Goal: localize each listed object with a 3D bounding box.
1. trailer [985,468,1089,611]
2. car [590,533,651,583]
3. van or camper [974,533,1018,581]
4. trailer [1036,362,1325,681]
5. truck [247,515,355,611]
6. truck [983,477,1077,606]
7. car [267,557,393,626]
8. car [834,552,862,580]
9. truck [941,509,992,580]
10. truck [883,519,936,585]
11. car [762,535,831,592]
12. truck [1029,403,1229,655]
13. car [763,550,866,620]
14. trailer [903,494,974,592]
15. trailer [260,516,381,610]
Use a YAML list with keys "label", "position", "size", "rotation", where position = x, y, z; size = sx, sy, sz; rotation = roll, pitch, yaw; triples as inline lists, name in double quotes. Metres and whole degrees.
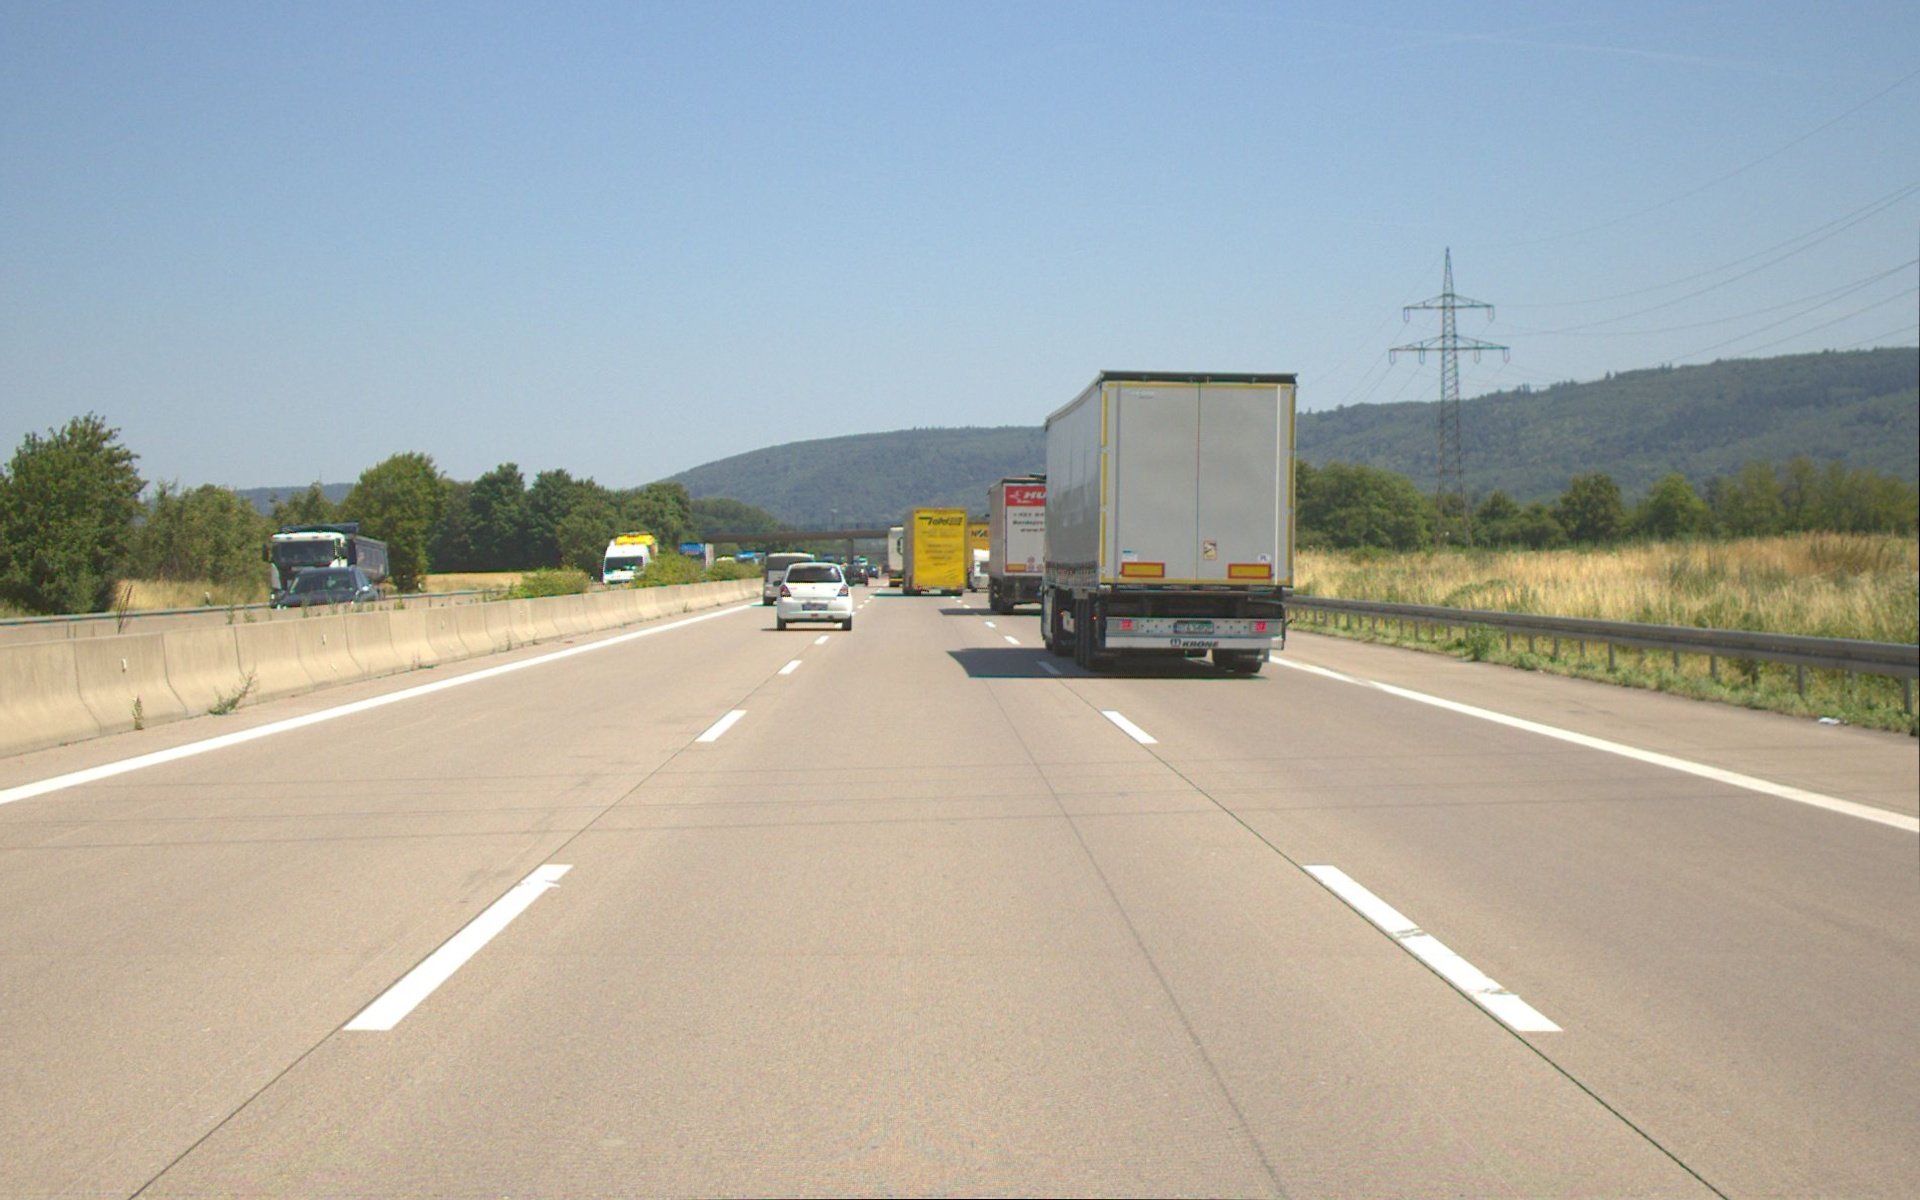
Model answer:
- label: "trailer"
  position: [2.272, -1.841, 106.516]
  size: [2.874, 4.086, 13.513]
  rotation: [1, 1, 0]
- label: "car"
  position: [-15.297, -1.901, 155.249]
  size: [2.210, 2.181, 6.326]
  rotation: [1, 1, -1]
- label: "van or camper"
  position: [1.922, -2.310, 185.416]
  size: [2.224, 2.522, 5.431]
  rotation: [1, 1, -1]
- label: "trailer"
  position: [2.990, -1.101, 51.298]
  size: [3.018, 4.047, 14.208]
  rotation: [1, 1, -1]
- label: "truck"
  position: [-23.379, -1.309, 122.179]
  size: [2.806, 3.293, 5.614]
  rotation: [1, 1, -1]
- label: "truck"
  position: [2.266, -1.927, 113.271]
  size: [2.905, 4.086, 6.272]
  rotation: [1, 1, 0]
- label: "car"
  position: [-13.777, -0.204, 75.447]
  size: [1.993, 1.443, 4.683]
  rotation: [1, 1, -1]
- label: "car"
  position: [-7.664, -2.306, 234.636]
  size: [1.783, 1.875, 4.000]
  rotation: [1, 1, 0]
- label: "truck"
  position: [0.361, -3.428, 213.299]
  size: [2.999, 4.299, 9.684]
  rotation: [1, 1, -1]
- label: "truck"
  position: [-3.305, -3.161, 226.216]
  size: [3.353, 4.257, 8.229]
  rotation: [1, 1, -1]
- label: "car"
  position: [-5.872, -1.317, 123.903]
  size: [2.254, 2.007, 4.298]
  rotation: [1, 1, 0]
- label: "truck"
  position: [2.798, -1.192, 58.633]
  size: [2.984, 4.048, 5.478]
  rotation: [1, 1, -1]
- label: "car"
  position: [-3.263, -0.358, 77.983]
  size: [2.107, 1.530, 4.122]
  rotation: [1, 1, 1]
- label: "trailer"
  position: [-1.064, -2.765, 167.425]
  size: [3.216, 4.548, 13.457]
  rotation: [1, 1, -1]
- label: "trailer"
  position: [-23.419, -1.362, 126.265]
  size: [2.828, 3.293, 9.464]
  rotation: [1, 1, -1]
